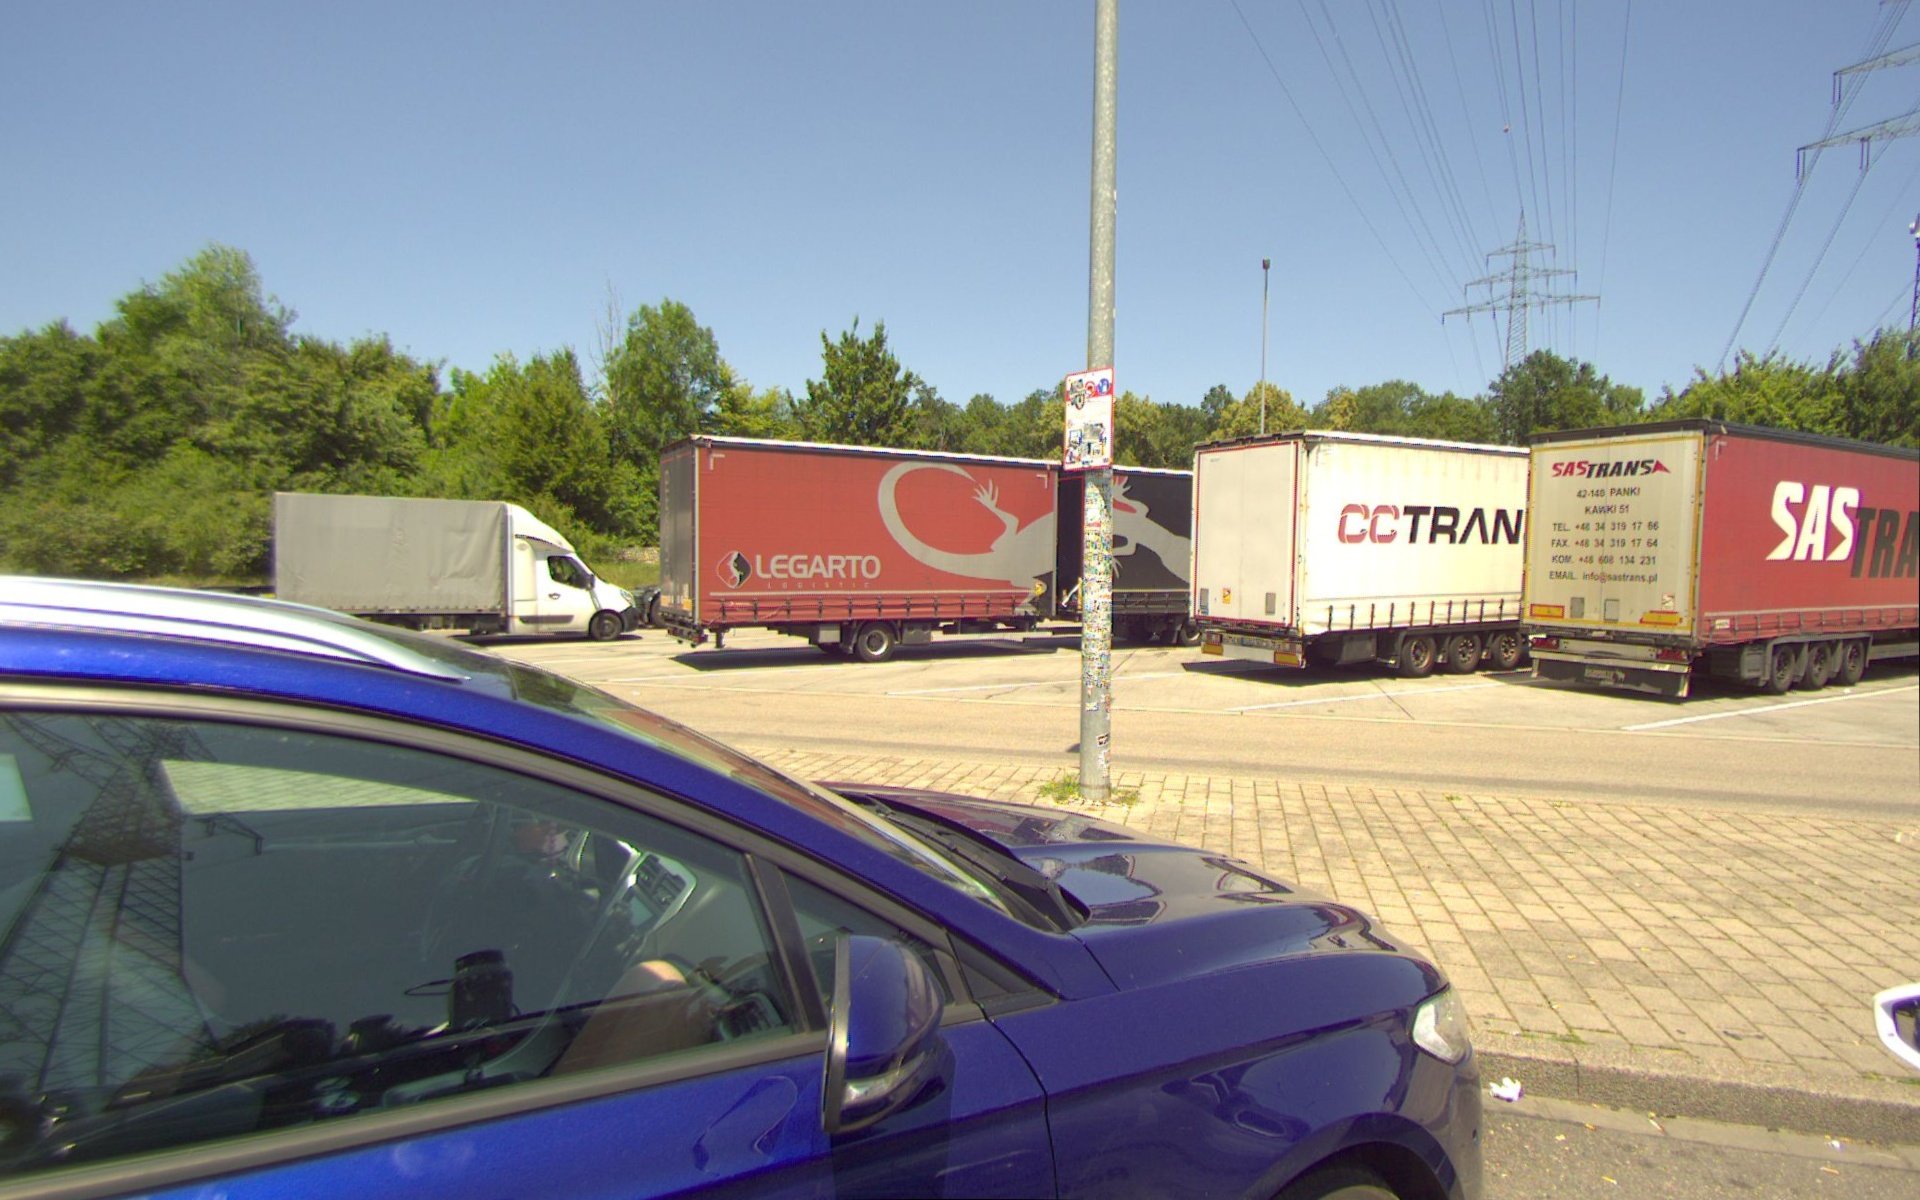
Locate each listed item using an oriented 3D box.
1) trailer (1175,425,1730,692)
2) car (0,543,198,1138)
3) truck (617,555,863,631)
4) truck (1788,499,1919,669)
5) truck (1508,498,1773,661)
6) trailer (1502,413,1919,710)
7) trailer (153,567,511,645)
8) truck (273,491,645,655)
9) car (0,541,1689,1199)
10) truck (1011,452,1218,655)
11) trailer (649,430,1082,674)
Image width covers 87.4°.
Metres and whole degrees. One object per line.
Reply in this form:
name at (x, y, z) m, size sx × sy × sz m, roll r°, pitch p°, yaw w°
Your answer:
trailer at (10.596, -0.800, 20.345) m, size 13.962 × 4.141 × 2.782 m, roll -1°, pitch 3°, yaw -30°
car at (-4.602, 0.602, 2.234) m, size 4.444 × 1.520 × 1.762 m, roll 0°, pitch 2°, yaw -32°
truck at (-6.338, -0.233, 29.282) m, size 6.733 × 2.041 × 1.987 m, roll -1°, pitch 1°, yaw -26°
truck at (21.218, -0.393, 22.011) m, size 5.829 × 3.373 × 2.837 m, roll -1°, pitch 3°, yaw -30°
truck at (15.955, -0.524, 23.522) m, size 5.829 × 3.373 × 2.837 m, roll -1°, pitch 3°, yaw -30°
trailer at (15.616, -0.692, 18.734) m, size 13.962 × 4.141 × 2.777 m, roll -1°, pitch 3°, yaw -30°
trailer at (-15.155, 0.053, 24.901) m, size 7.204 × 1.711 × 2.249 m, roll -1°, pitch 3°, yaw -29°
truck at (-11.180, -0.627, 23.032) m, size 7.204 × 3.279 × 2.727 m, roll -1°, pitch 3°, yaw -29°
car at (-1.026, 0.680, 1.501) m, size 4.444 × 1.511 × 1.859 m, roll 0°, pitch 2°, yaw -32°
truck at (3.579, -1.068, 23.458) m, size 3.947 × 4.298 × 2.723 m, roll -1°, pitch 3°, yaw -30°
trailer at (-1.734, -0.902, 20.336) m, size 8.376 × 4.141 × 2.722 m, roll -1°, pitch 3°, yaw -30°
